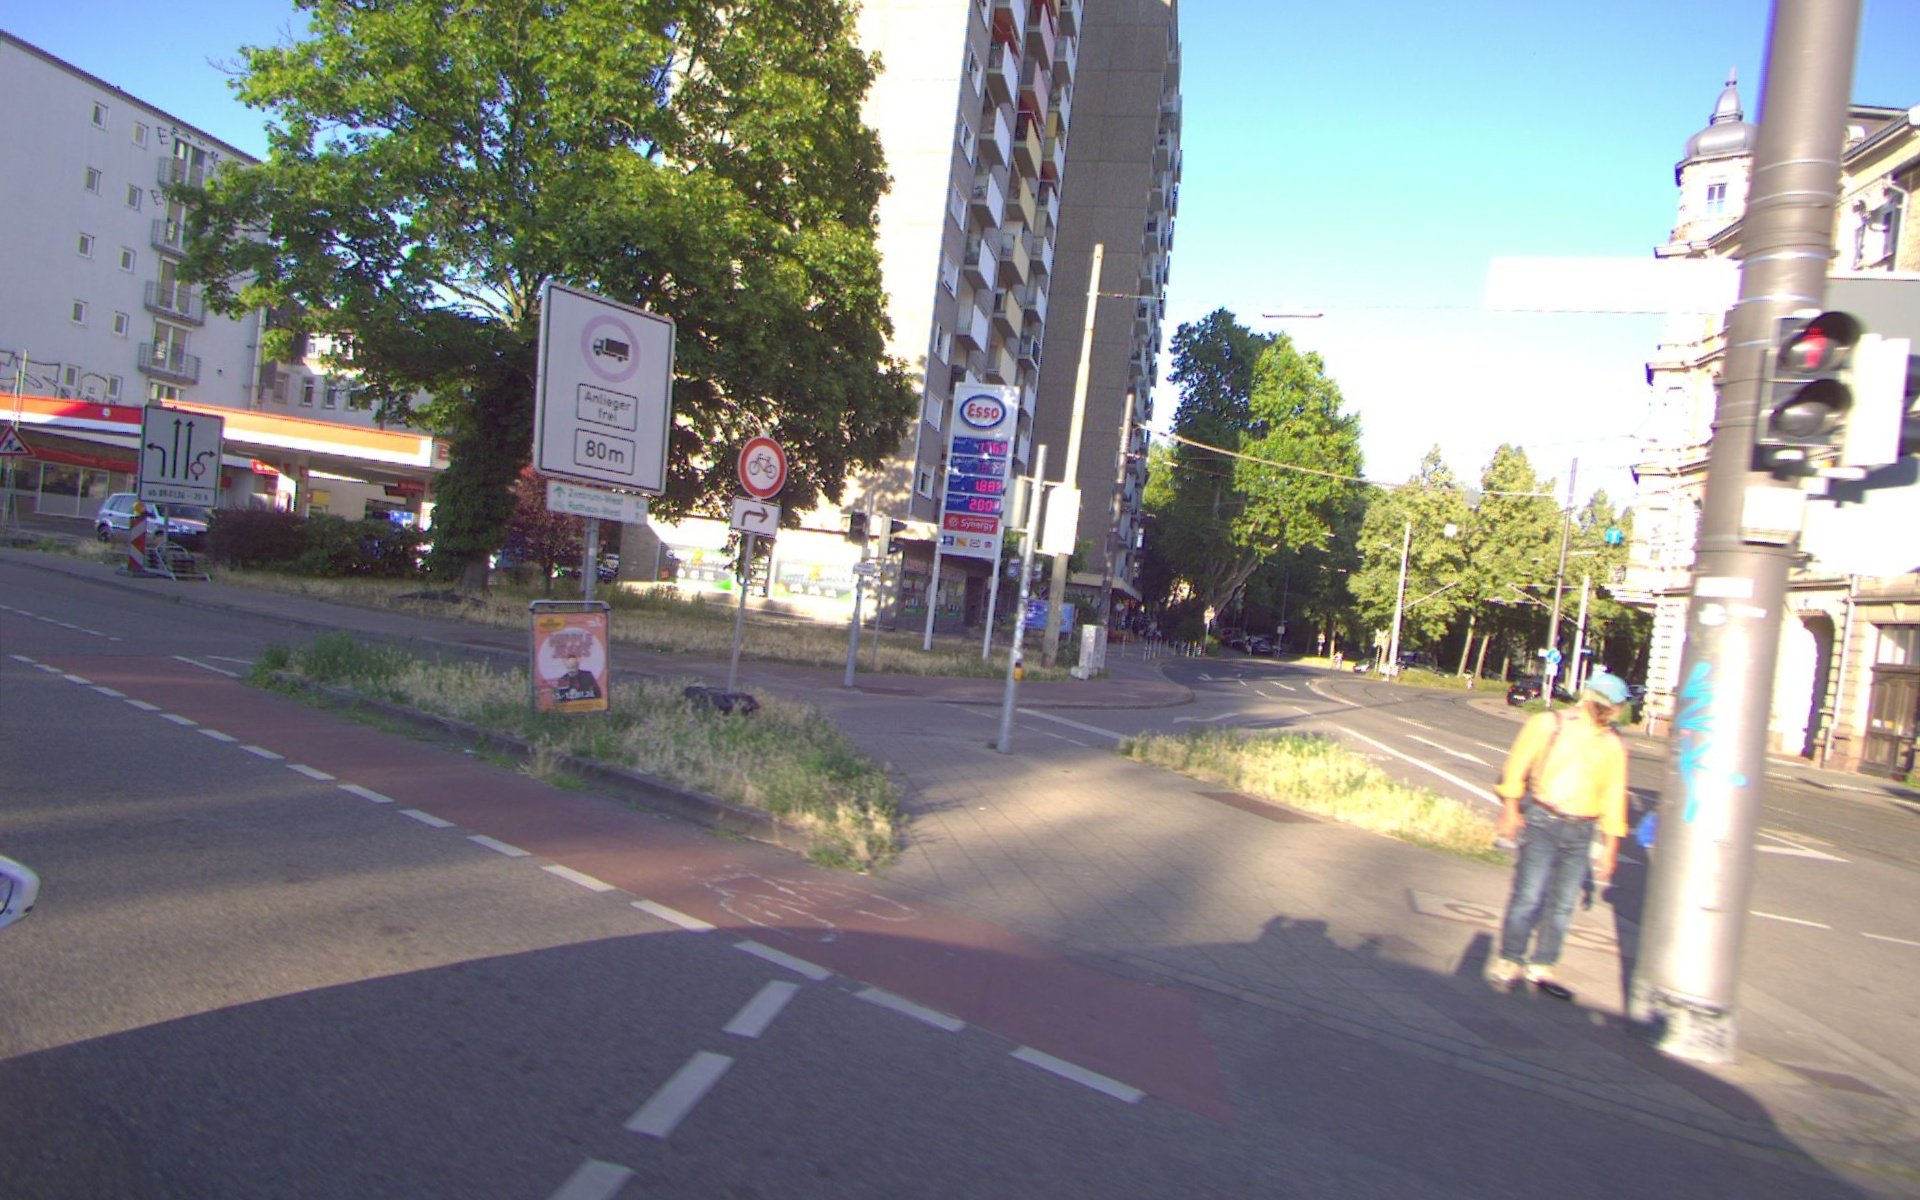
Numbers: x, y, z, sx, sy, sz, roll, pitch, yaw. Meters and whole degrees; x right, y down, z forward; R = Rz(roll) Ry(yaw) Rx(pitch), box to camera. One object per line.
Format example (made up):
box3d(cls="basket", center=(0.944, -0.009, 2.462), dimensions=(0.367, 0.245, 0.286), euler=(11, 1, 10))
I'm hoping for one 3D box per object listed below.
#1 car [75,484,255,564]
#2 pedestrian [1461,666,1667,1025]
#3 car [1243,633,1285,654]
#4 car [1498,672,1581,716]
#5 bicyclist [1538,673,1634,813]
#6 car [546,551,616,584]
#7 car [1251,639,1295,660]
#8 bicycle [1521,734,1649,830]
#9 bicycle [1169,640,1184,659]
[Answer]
box3d(cls="car", center=(-21.225, -2.022, 26.852), dimensions=(4.272, 1.549, 1.777), euler=(7, 0, 22))
box3d(cls="pedestrian", center=(3.105, 1.210, 5.242), dimensions=(0.687, 1.649, 0.553), euler=(8, 1, 27))
box3d(cls="car", center=(32.768, 4.699, 108.626), dimensions=(3.924, 1.638, 1.824), euler=(8, 0, 9))
box3d(cls="car", center=(28.372, 4.615, 49.256), dimensions=(3.961, 1.638, 1.807), euler=(7, 0, -34))
box3d(cls="bicyclist", center=(7.818, 1.762, 12.589), dimensions=(0.625, 1.603, 0.696), euler=(7, 1, 9))
box3d(cls="car", center=(-21.760, -1.863, 57.737), dimensions=(3.372, 1.398, 1.575), euler=(7, 1, 16))
box3d(cls="car", center=(30.375, 4.785, 97.664), dimensions=(3.517, 1.477, 1.829), euler=(7, 0, -4))
box3d(cls="bicycle", center=(7.753, 2.234, 12.577), dimensions=(0.610, 0.839, 1.816), euler=(7, 0, 9))
box3d(cls="bicycle", center=(12.853, 2.960, 59.638), dimensions=(0.548, 0.992, 1.724), euler=(8, -3, 19))
